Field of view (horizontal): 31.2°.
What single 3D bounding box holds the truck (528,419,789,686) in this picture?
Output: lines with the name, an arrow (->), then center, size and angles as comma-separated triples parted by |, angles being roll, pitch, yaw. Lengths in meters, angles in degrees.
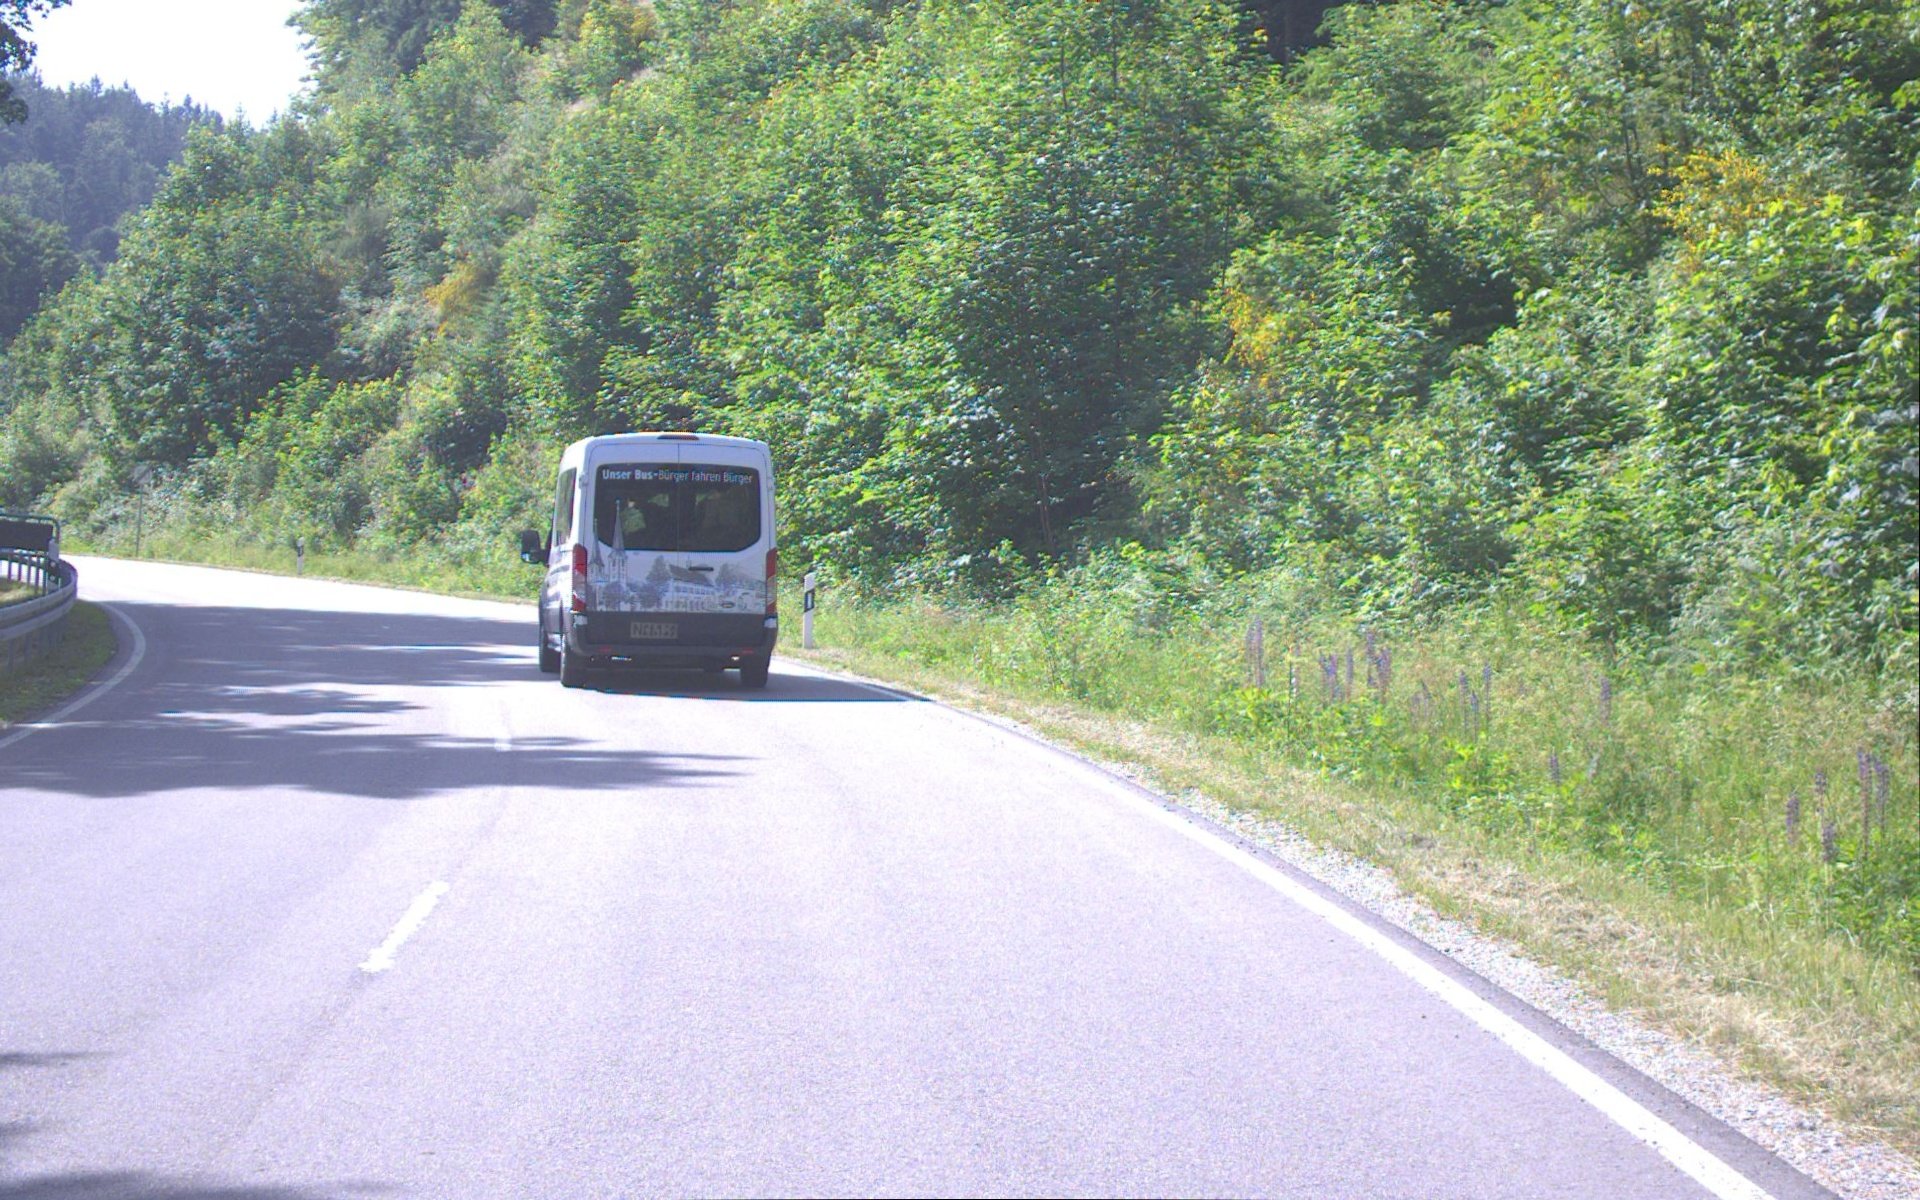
truck -> -3.144, -0.510, 34.792 | 2.115, 2.489, 5.361 | 0, 1, -11
